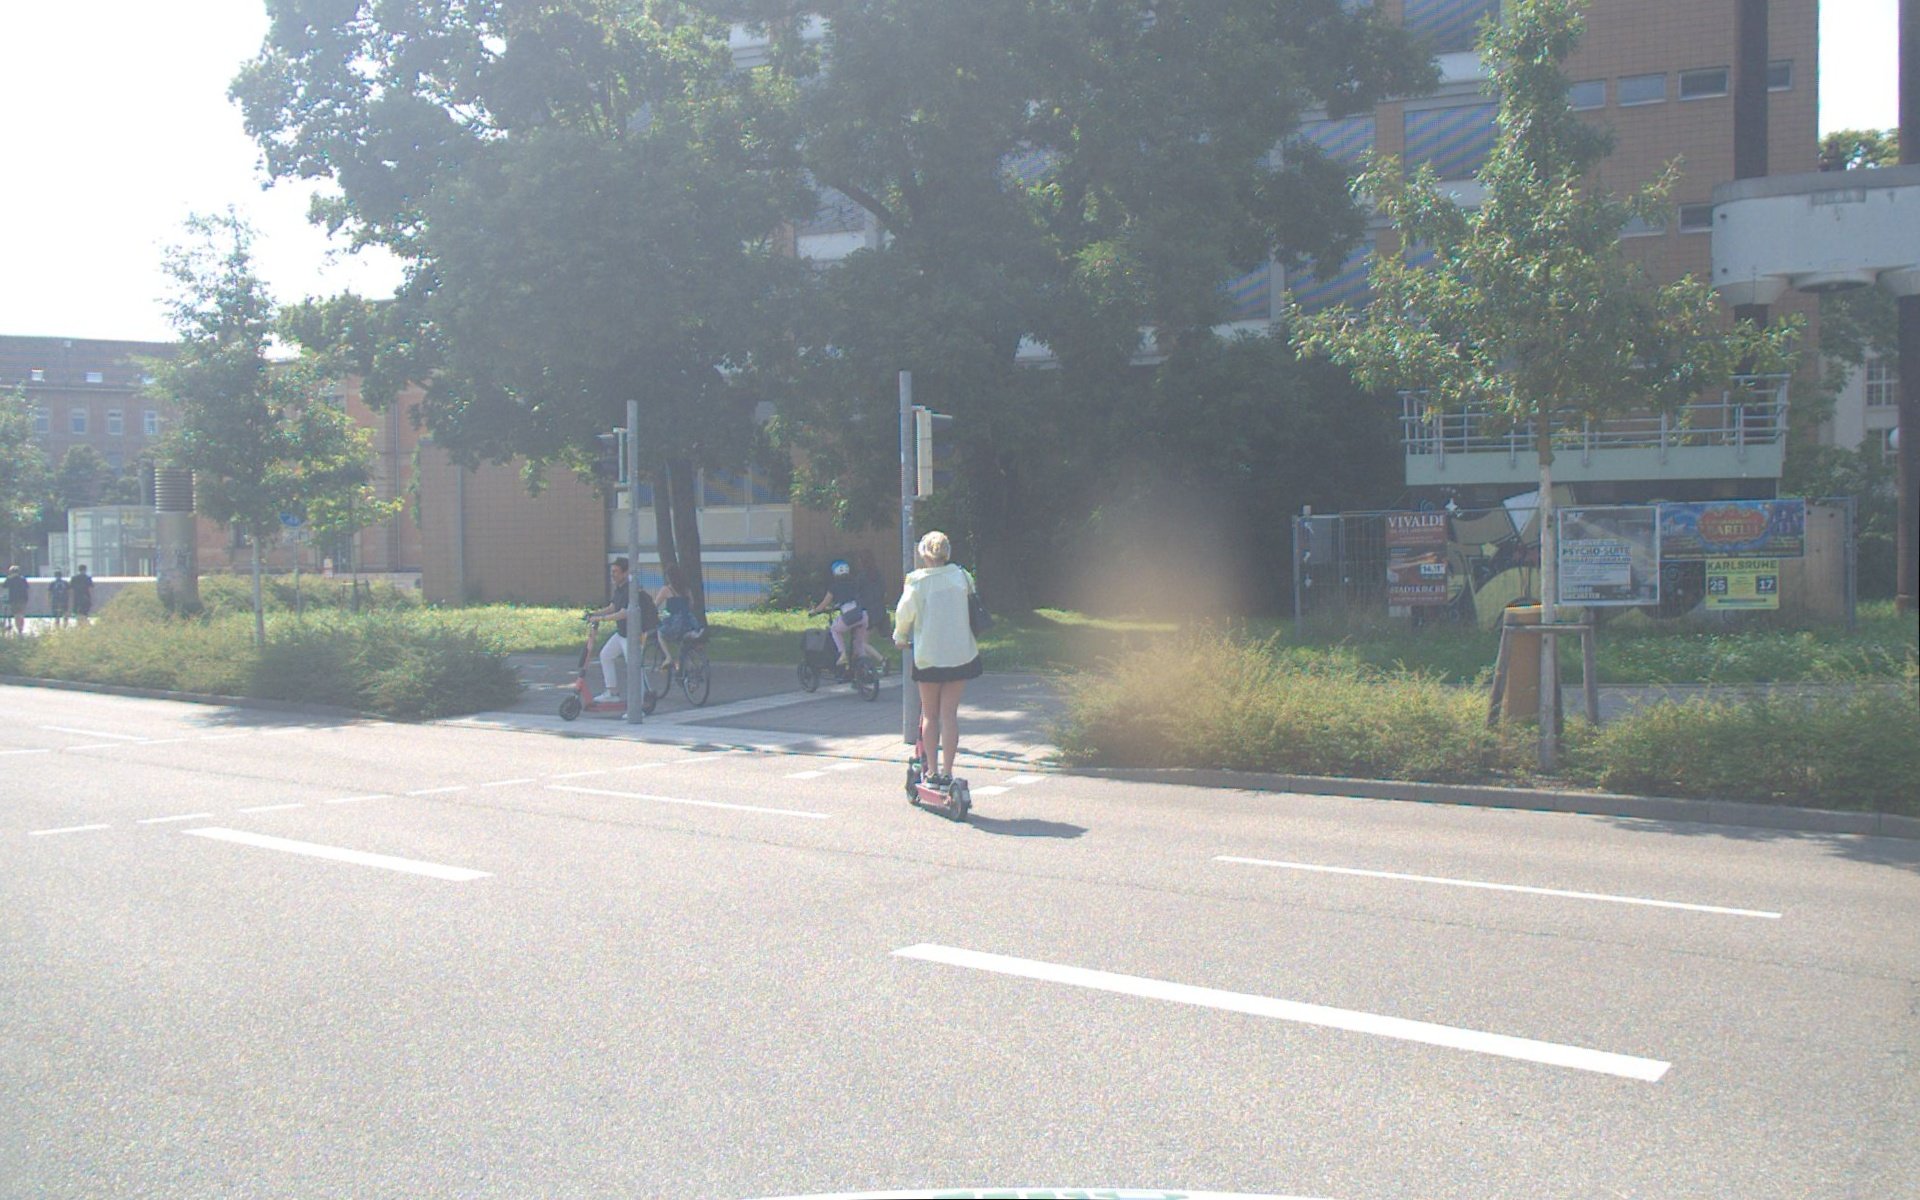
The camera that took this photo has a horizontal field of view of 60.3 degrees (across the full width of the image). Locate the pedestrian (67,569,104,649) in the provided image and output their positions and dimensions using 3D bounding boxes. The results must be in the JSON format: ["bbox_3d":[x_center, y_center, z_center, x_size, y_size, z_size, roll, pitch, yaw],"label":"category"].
[{"bbox_3d":[-22.272,0.218,42.129,0.768,2.007,0.747,-1,1,-26],"label":"pedestrian"}]

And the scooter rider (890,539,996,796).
[{"bbox_3d":[-0.127,0.456,11.525,0.657,1.729,0.538,-1,0,-8],"label":"scooter rider"}]

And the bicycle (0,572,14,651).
[{"bbox_3d":[-23.326,0.278,40.286,0.450,1.892,1.350,-1,1,-29],"label":"bicycle"}]

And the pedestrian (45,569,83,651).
[{"bbox_3d":[-22.278,0.234,41.132,0.768,2.007,0.747,-1,1,-26],"label":"pedestrian"}]

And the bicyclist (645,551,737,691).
[{"bbox_3d":[-3.278,0.240,20.155,0.829,1.626,0.688,0,4,44],"label":"bicyclist"}]

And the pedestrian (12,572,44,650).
[{"bbox_3d":[-22.970,0.263,40.781,0.653,1.892,0.785,-1,1,-29],"label":"pedestrian"}]

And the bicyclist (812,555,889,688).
[{"bbox_3d":[-1.319,0.239,19.787,0.543,1.521,0.795,-5,3,-30],"label":"bicyclist"}]

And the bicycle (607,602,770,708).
[{"bbox_3d":[-3.357,0.639,20.261,2.331,1.174,0.691,1,3,44],"label":"bicycle"}]

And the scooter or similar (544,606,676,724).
[{"bbox_3d":[-4.019,0.727,19.012,1.348,1.256,0.580,-2,2,-29],"label":"scooter or similar"}]

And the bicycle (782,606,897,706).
[{"bbox_3d":[-1.488,0.650,20.140,0.551,1.078,1.984,-4,3,-30],"label":"bicycle"}]

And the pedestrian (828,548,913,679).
[{"bbox_3d":[-1.216,0.171,22.577,0.862,1.734,0.705,0,3,38],"label":"pedestrian"}]

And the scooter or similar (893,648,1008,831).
[{"bbox_3d":[-0.099,0.903,11.364,0.546,1.078,2.001,-1,0,-7],"label":"scooter or similar"}]

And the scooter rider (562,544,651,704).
[{"bbox_3d":[-4.046,0.261,18.935,0.793,1.769,0.682,-2,2,-29],"label":"scooter rider"}]
